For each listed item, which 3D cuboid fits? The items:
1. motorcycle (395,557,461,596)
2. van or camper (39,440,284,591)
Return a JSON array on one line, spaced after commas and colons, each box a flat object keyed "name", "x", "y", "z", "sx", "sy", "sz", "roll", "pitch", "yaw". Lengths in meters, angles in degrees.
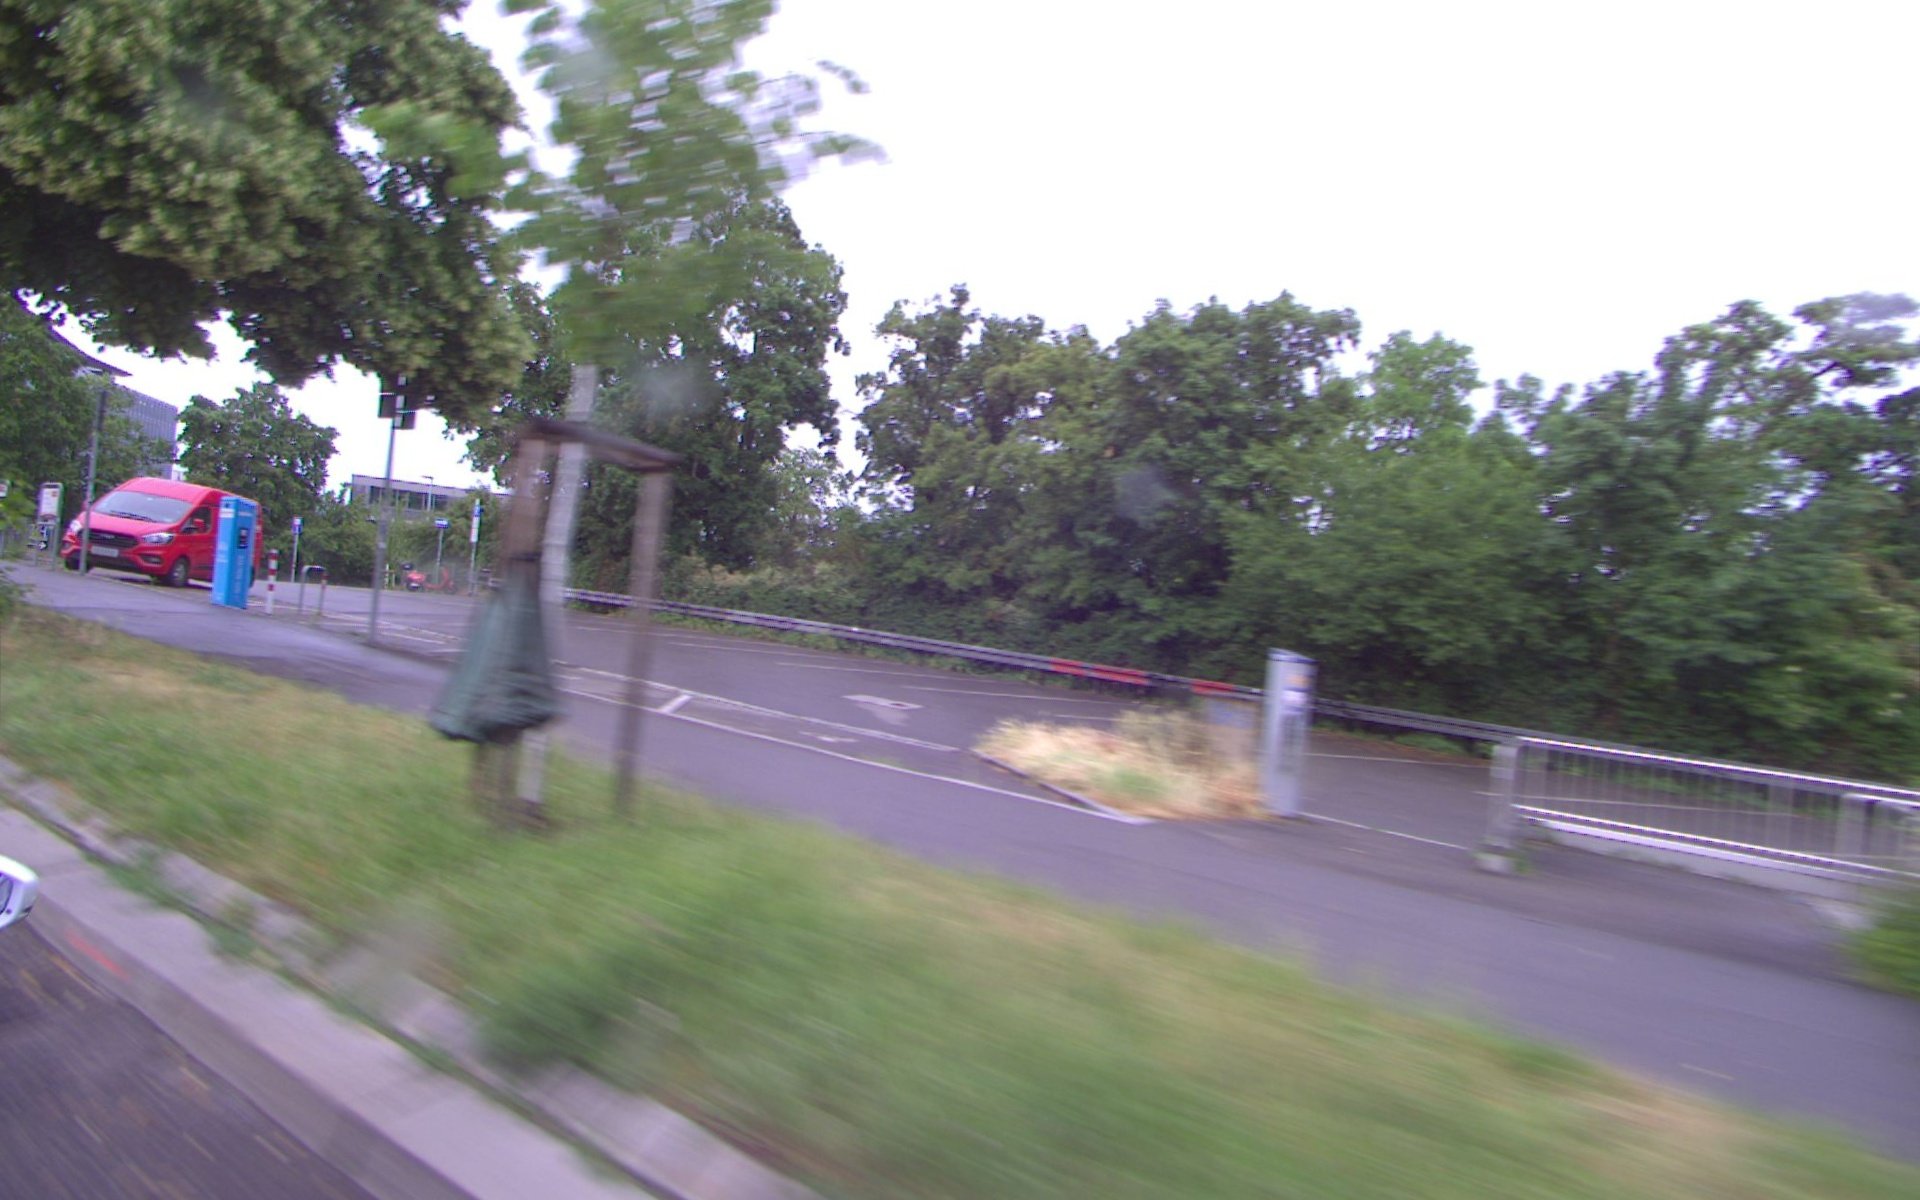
[{"name": "motorcycle", "x": -19.565, "y": -0.856, "z": 37.033, "sx": 1.994, "sy": 1.226, "sz": 0.472, "roll": 4, "pitch": -5, "yaw": -19}, {"name": "van or camper", "x": -17.741, "y": -1.708, "z": 22.793, "sx": 2.011, "sy": 2.430, "sz": 5.382, "roll": 10, "pitch": -4, "yaw": -14}]
